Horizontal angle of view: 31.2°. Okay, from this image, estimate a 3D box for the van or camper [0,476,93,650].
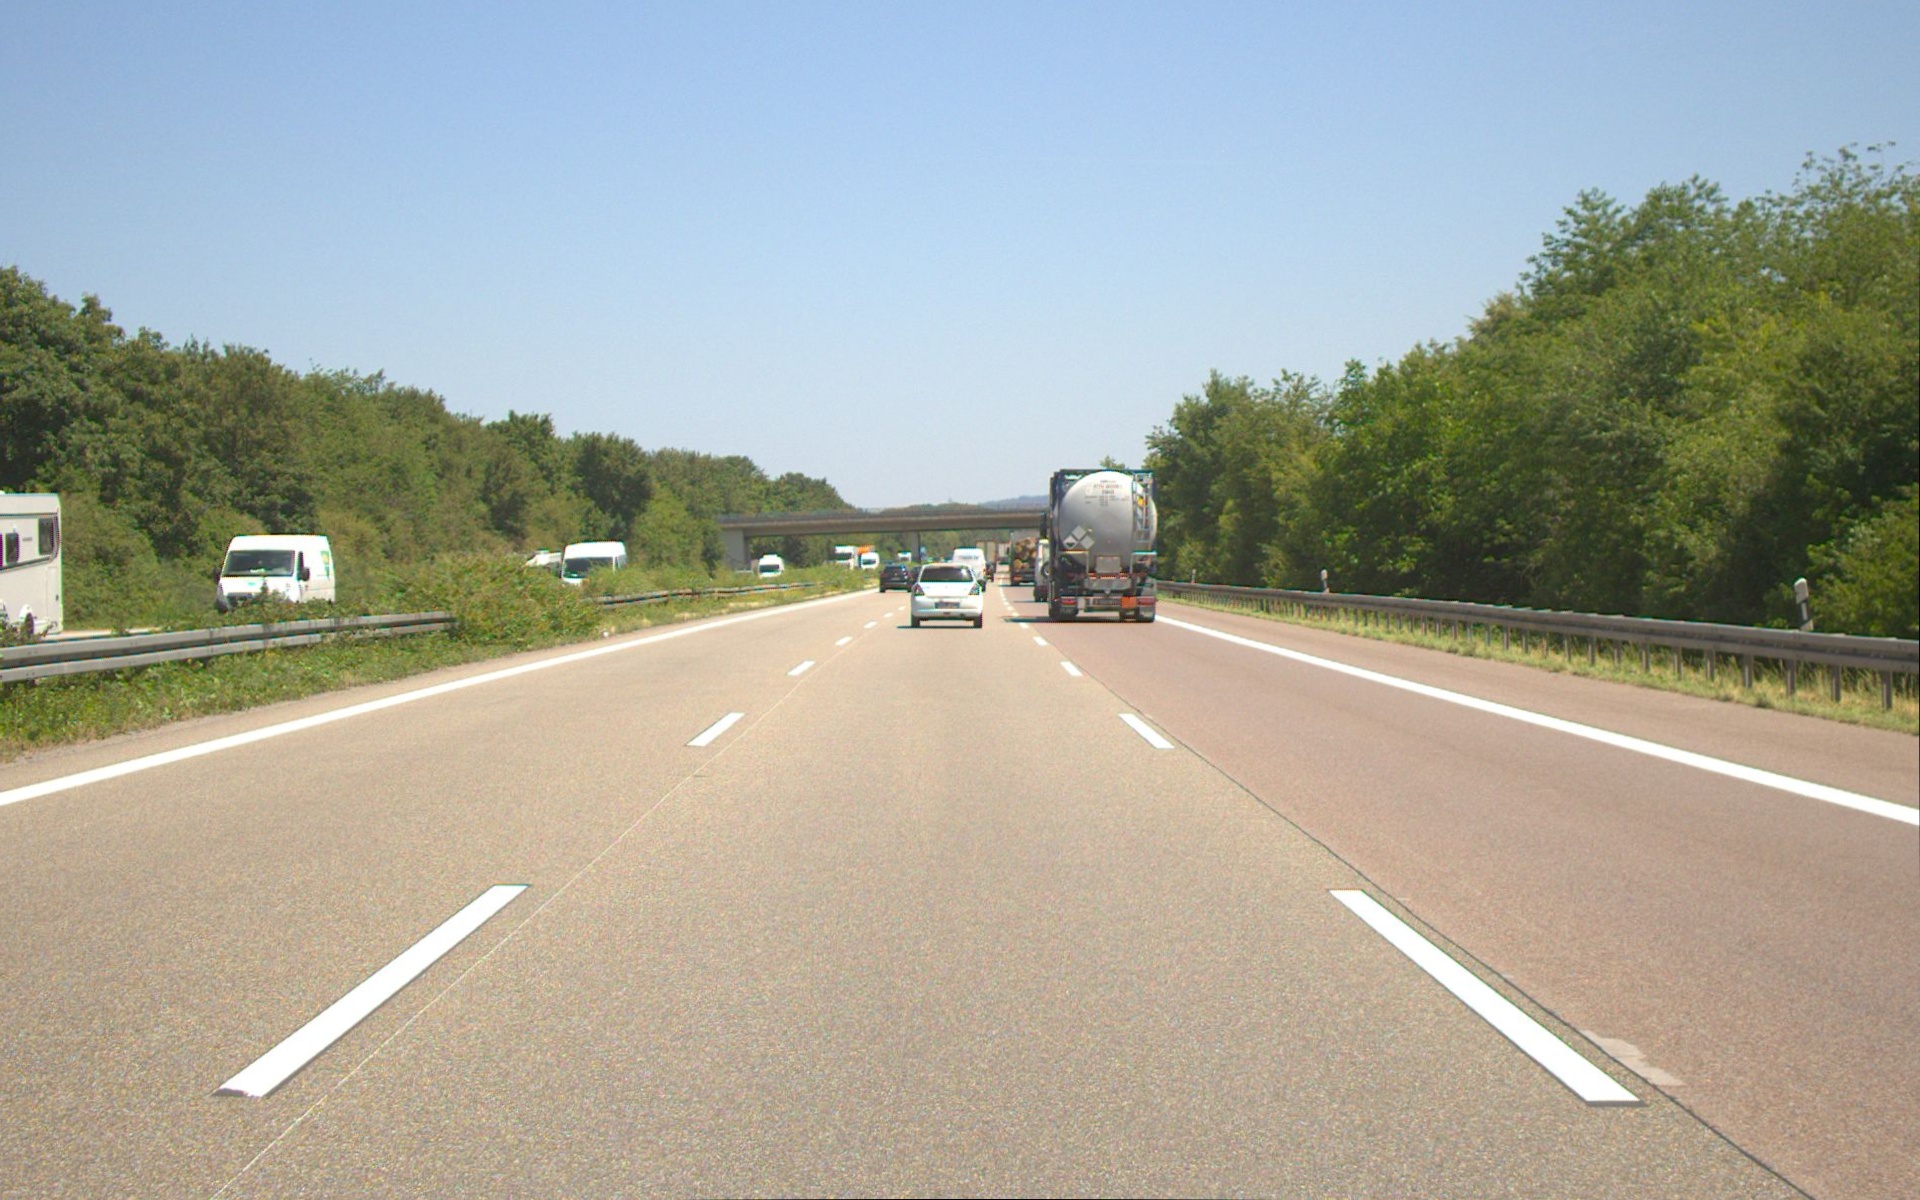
[{"bbox_3d":[-16.929,-0.630,57.784,2.513,2.839,8.026,0,1,1],"label":"van or camper"}]

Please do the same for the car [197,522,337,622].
[{"bbox_3d":[-17.685,-0.730,88.067,2.214,2.433,6.419,-1,1,1],"label":"car"}]

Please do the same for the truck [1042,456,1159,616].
[{"bbox_3d":[3.699,-1.688,92.526,2.739,4.038,10.455,0,1,0],"label":"truck"}]

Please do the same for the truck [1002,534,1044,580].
[{"bbox_3d":[4.491,-3.039,245.869,2.915,3.229,6.344,1,0,0],"label":"truck"}]

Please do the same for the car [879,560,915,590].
[{"bbox_3d":[-3.617,-1.432,198.156,1.993,1.719,4.786,0,1,0],"label":"car"}]

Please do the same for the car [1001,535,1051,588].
[{"bbox_3d":[2.747,-1.613,144.134,1.993,2.217,4.786,0,1,0],"label":"car"}]

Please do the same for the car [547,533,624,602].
[{"bbox_3d":[-13.422,-1.179,123.508,1.993,2.392,6.165,-1,1,1],"label":"car"}]

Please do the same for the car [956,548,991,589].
[{"bbox_3d":[0.803,-1.846,201.801,1.993,2.335,4.387,0,1,1],"label":"car"}]

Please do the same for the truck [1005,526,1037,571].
[{"bbox_3d":[4.500,-3.813,255.107,2.290,3.229,6.344,1,0,0],"label":"truck"}]

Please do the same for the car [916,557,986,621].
[{"bbox_3d":[-0.224,-0.282,81.509,1.627,1.474,4.000,0,1,0],"label":"car"}]
